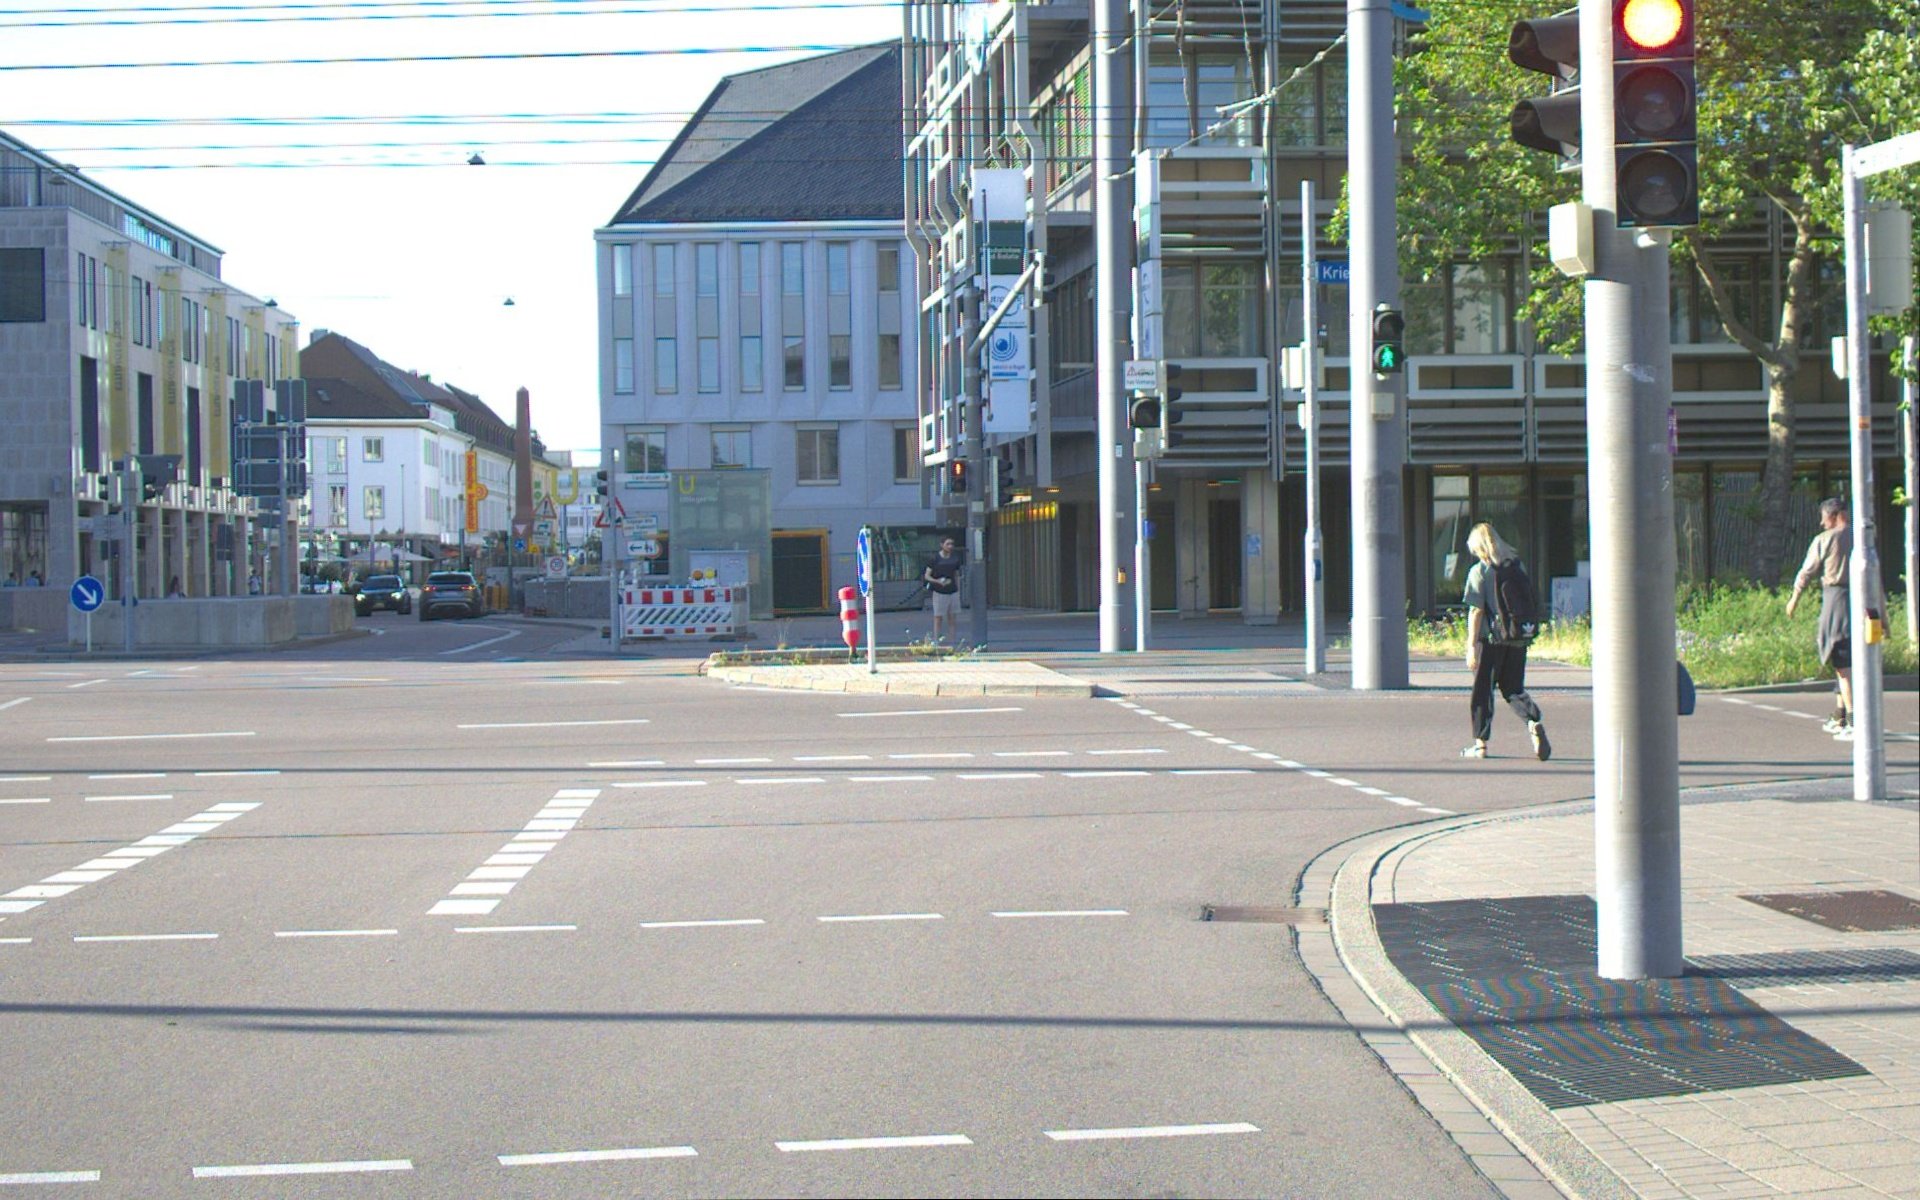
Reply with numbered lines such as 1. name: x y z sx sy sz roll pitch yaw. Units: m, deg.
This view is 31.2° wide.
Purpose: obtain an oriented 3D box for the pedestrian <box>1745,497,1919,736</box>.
1. pedestrian: 6.211 0.113 24.381 0.878 1.659 0.965 1 0 -16

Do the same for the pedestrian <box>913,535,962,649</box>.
1. pedestrian: -0.380 -0.130 57.303 0.788 1.883 0.644 1 0 -1

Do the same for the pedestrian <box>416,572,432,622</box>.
1. pedestrian: -18.251 -0.115 117.064 0.521 1.674 0.583 1 1 -7

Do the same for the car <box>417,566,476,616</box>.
1. car: -16.158 -0.300 108.196 1.737 1.525 3.856 1 0 -7

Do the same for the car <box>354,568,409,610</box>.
1. car: -23.604 -0.470 140.373 1.797 1.652 4.001 1 0 -4

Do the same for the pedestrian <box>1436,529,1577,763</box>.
1. pedestrian: 3.534 0.291 22.274 0.788 1.487 0.644 1 0 -1
